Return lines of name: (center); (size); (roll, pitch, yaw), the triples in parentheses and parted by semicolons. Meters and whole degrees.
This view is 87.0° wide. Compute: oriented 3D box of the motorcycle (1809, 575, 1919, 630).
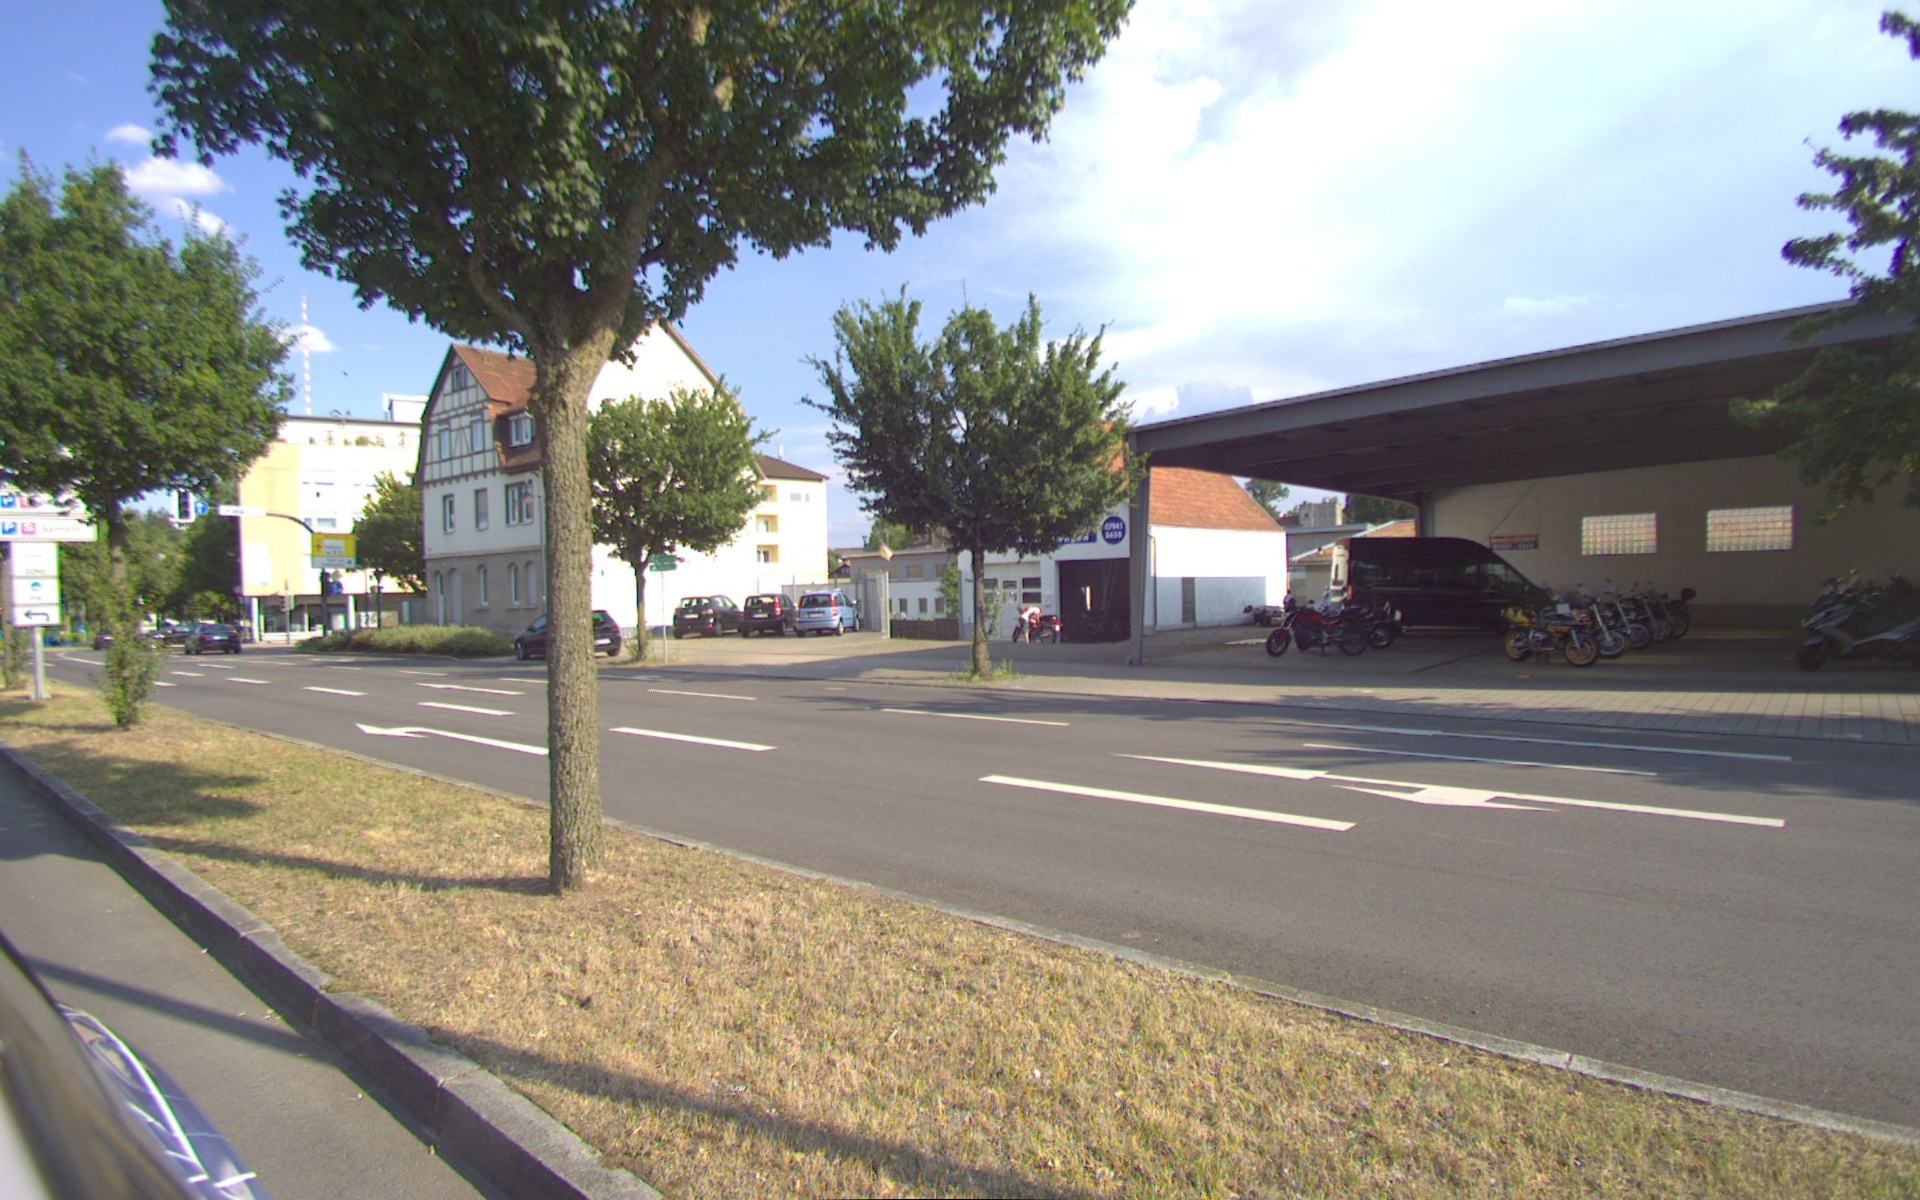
motorcycle: (23.728, 0.074, 26.529); (2.103, 1.306, 0.628); (-3, -1, 17)

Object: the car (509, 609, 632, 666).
car: (-11.606, 1.077, 30.083); (3.823, 1.462, 1.795); (-1, 2, 42)

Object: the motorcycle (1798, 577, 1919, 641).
motorcycle: (20.222, 0.207, 22.652); (2.103, 1.306, 0.628); (-3, -1, 17)

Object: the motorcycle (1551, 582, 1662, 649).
motorcycle: (13.858, 0.324, 21.776); (0.621, 1.347, 2.269); (-1, 0, -9)

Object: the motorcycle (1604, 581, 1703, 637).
motorcycle: (17.285, 0.220, 25.311); (0.621, 1.347, 2.269); (-1, 0, -9)

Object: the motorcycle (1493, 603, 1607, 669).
motorcycle: (10.525, 0.619, 18.159); (0.621, 1.095, 2.038); (-1, 0, -7)

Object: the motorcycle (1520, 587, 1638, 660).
motorcycle: (12.152, 0.437, 19.963); (0.621, 1.347, 2.269); (-1, 0, -9)

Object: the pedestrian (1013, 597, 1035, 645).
pedestrian: (2.066, 0.674, 32.772); (0.485, 1.530, 0.496); (-1, 0, 41)

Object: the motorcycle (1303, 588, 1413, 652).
motorcycle: (8.950, 0.450, 22.811); (2.198, 1.372, 0.630); (-1, 0, 5)

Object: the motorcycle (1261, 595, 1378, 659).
motorcycle: (7.490, 0.561, 21.167); (2.202, 1.290, 0.629); (-1, 0, 11)

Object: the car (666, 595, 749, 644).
car: (-9.328, 0.688, 37.706); (1.797, 1.512, 3.819); (-3, 2, 5)

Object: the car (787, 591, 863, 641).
car: (-4.689, 0.518, 35.684); (1.797, 1.512, 3.819); (-3, 2, 5)

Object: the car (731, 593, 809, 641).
car: (-6.928, 0.583, 37.314); (1.797, 1.512, 3.819); (-3, 2, 5)

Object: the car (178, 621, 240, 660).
car: (-35.575, 1.895, 47.902); (4.002, 1.706, 1.757); (-1, 0, 45)

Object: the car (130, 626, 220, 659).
car: (-44.541, 2.374, 57.463); (3.938, 1.687, 1.790); (-1, 0, -41)

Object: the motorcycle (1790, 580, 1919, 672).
motorcycle: (13.855, 0.375, 15.123); (2.103, 1.306, 0.628); (-3, -1, 17)

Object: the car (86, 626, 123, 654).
car: (-55.323, 2.537, 65.504); (1.754, 1.706, 4.007); (-1, 0, -39)

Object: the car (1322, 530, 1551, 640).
car: (12.860, -0.378, 27.636); (5.221, 2.773, 1.996); (-1, 0, 7)

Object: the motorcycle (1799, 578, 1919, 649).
motorcycle: (18.039, 0.270, 19.996); (2.103, 1.306, 0.628); (-3, -1, 17)

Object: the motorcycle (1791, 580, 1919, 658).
motorcycle: (16.525, 0.340, 18.355); (2.103, 1.306, 0.628); (-3, -1, 17)

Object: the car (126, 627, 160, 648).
car: (-69.649, 3.177, 86.344); (1.753, 1.706, 4.011); (-1, 0, -32)

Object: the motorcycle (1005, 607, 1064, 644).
motorcycle: (2.427, 0.837, 33.217); (1.974, 1.194, 0.577); (-1, 0, 41)

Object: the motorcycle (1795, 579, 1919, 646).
motorcycle: (19.028, 0.257, 21.297); (2.103, 1.306, 0.628); (-3, -1, 17)

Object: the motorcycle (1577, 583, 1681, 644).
motorcycle: (15.531, 0.302, 23.586); (0.621, 1.347, 2.269); (-1, 0, -9)

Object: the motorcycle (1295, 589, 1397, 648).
motorcycle: (9.373, 0.452, 24.615); (2.198, 1.372, 0.630); (-1, 0, 5)

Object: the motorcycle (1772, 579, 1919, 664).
motorcycle: (14.907, 0.361, 16.783); (2.103, 1.306, 0.628); (-3, -1, 17)
